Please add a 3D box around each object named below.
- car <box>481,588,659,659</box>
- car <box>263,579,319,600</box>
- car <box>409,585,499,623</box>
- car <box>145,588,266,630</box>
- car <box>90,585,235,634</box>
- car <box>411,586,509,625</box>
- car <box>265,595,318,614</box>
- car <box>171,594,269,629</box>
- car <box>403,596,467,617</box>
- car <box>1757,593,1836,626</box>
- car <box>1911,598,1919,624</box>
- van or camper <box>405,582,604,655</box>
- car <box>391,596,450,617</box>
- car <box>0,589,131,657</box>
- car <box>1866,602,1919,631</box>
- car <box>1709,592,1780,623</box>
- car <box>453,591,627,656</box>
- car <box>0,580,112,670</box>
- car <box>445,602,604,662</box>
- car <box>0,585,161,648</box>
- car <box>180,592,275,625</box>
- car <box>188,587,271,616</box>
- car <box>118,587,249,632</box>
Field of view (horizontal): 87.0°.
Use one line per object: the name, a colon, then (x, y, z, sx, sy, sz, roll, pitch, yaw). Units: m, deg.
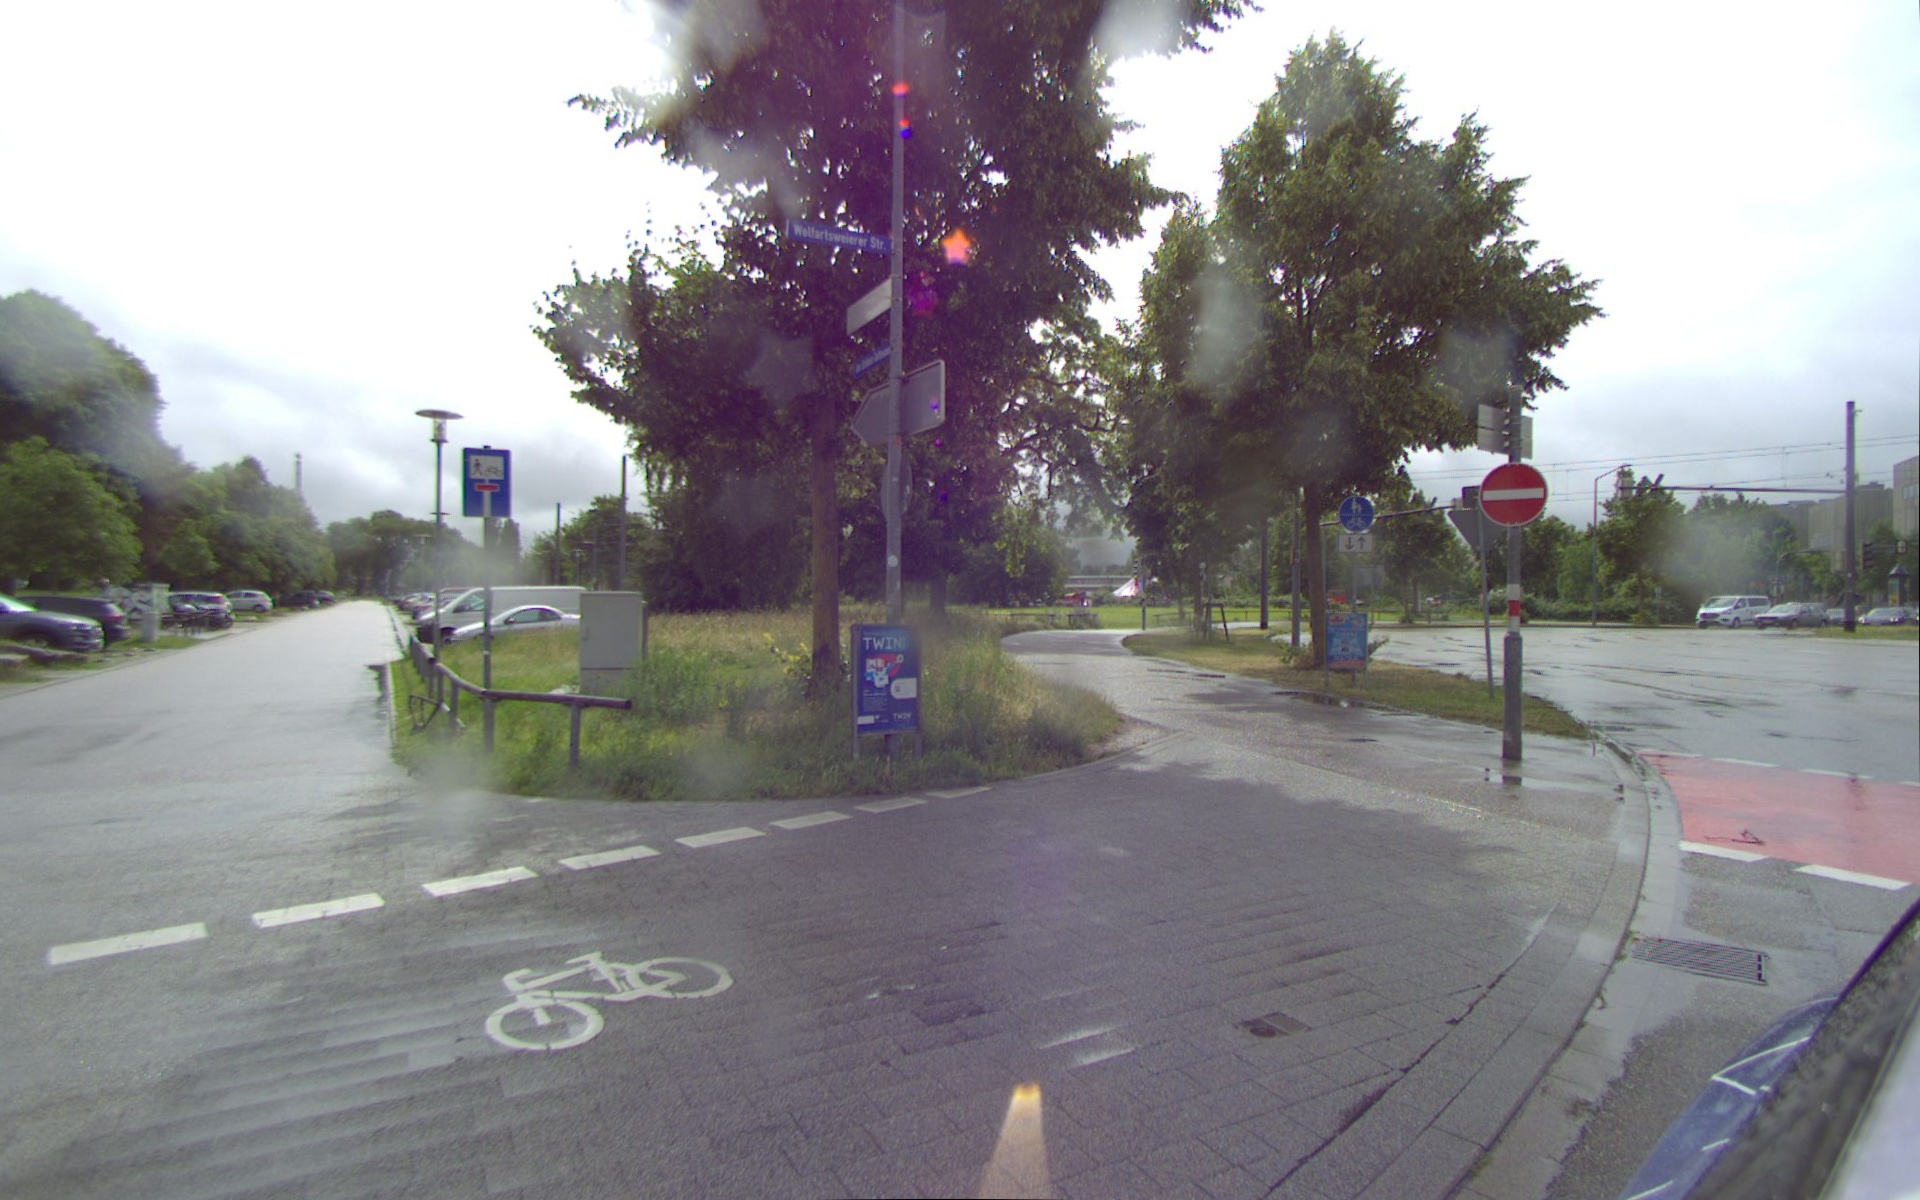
car: (-9.375, 0.528, 24.365, 3.697, 1.568, 1.937, 1, 0, -32)
car: (-62.562, -0.976, 94.734, 4.305, 1.873, 1.937, 1, 0, -32)
car: (-27.435, 0.209, 54.859, 4.188, 1.953, 1.937, 1, 0, -32)
car: (-34.888, 0.412, 46.969, 4.305, 1.873, 1.937, 1, 0, -32)
car: (-31.806, 0.379, 40.546, 4.305, 1.873, 1.937, 1, 0, -32)
car: (-23.188, 0.260, 46.989, 3.921, 1.761, 1.937, 1, 0, -32)
car: (-66.958, 0.458, 101.481, 4.305, 1.873, 1.937, 1, 0, -32)
car: (-37.877, 0.583, 51.935, 3.922, 1.684, 1.616, 1, 0, -32)
car: (-39.581, 0.501, 76.287, 4.113, 1.568, 1.937, 1, 0, -32)
car: (44.866, 0.511, 54.282, 4.118, 1.710, 1.672, 1, -1, -25)
car: (65.725, 0.749, 67.842, 3.920, 1.772, 1.871, 1, 0, -31)
van or camper: (-14.376, 0.590, 32.073, 5.564, 2.131, 2.002, 1, -1, -30)
car: (-43.308, 0.523, 81.274, 4.113, 1.568, 1.937, 1, 0, -32)
car: (-24.072, 0.570, 26.127, 3.922, 1.684, 1.616, 1, 0, -32)
car: (54.774, 0.944, 59.056, 3.920, 1.616, 1.772, 0, -1, -31)
car: (46.469, 0.425, 59.927, 4.145, 1.735, 1.894, 0, 0, -30)
car: (-10.909, 0.567, 26.342, 3.921, 1.568, 1.937, 1, 0, -32)
car: (-20.995, 0.506, 21.694, 4.051, 1.873, 1.937, 1, 0, -32)
car: (-12.370, 0.874, 28.800, 3.921, 1.568, 1.937, 1, 0, -32)
car: (-24.841, 0.440, 28.138, 3.922, 1.684, 1.616, 1, 0, -32)
car: (-42.609, 0.482, 58.994, 4.305, 1.873, 1.937, 1, 0, -32)
car: (-48.736, 0.124, 67.644, 4.305, 1.873, 1.937, 1, 0, -32)
car: (-33.603, 0.391, 43.975, 4.305, 1.873, 1.937, 1, 0, -32)
